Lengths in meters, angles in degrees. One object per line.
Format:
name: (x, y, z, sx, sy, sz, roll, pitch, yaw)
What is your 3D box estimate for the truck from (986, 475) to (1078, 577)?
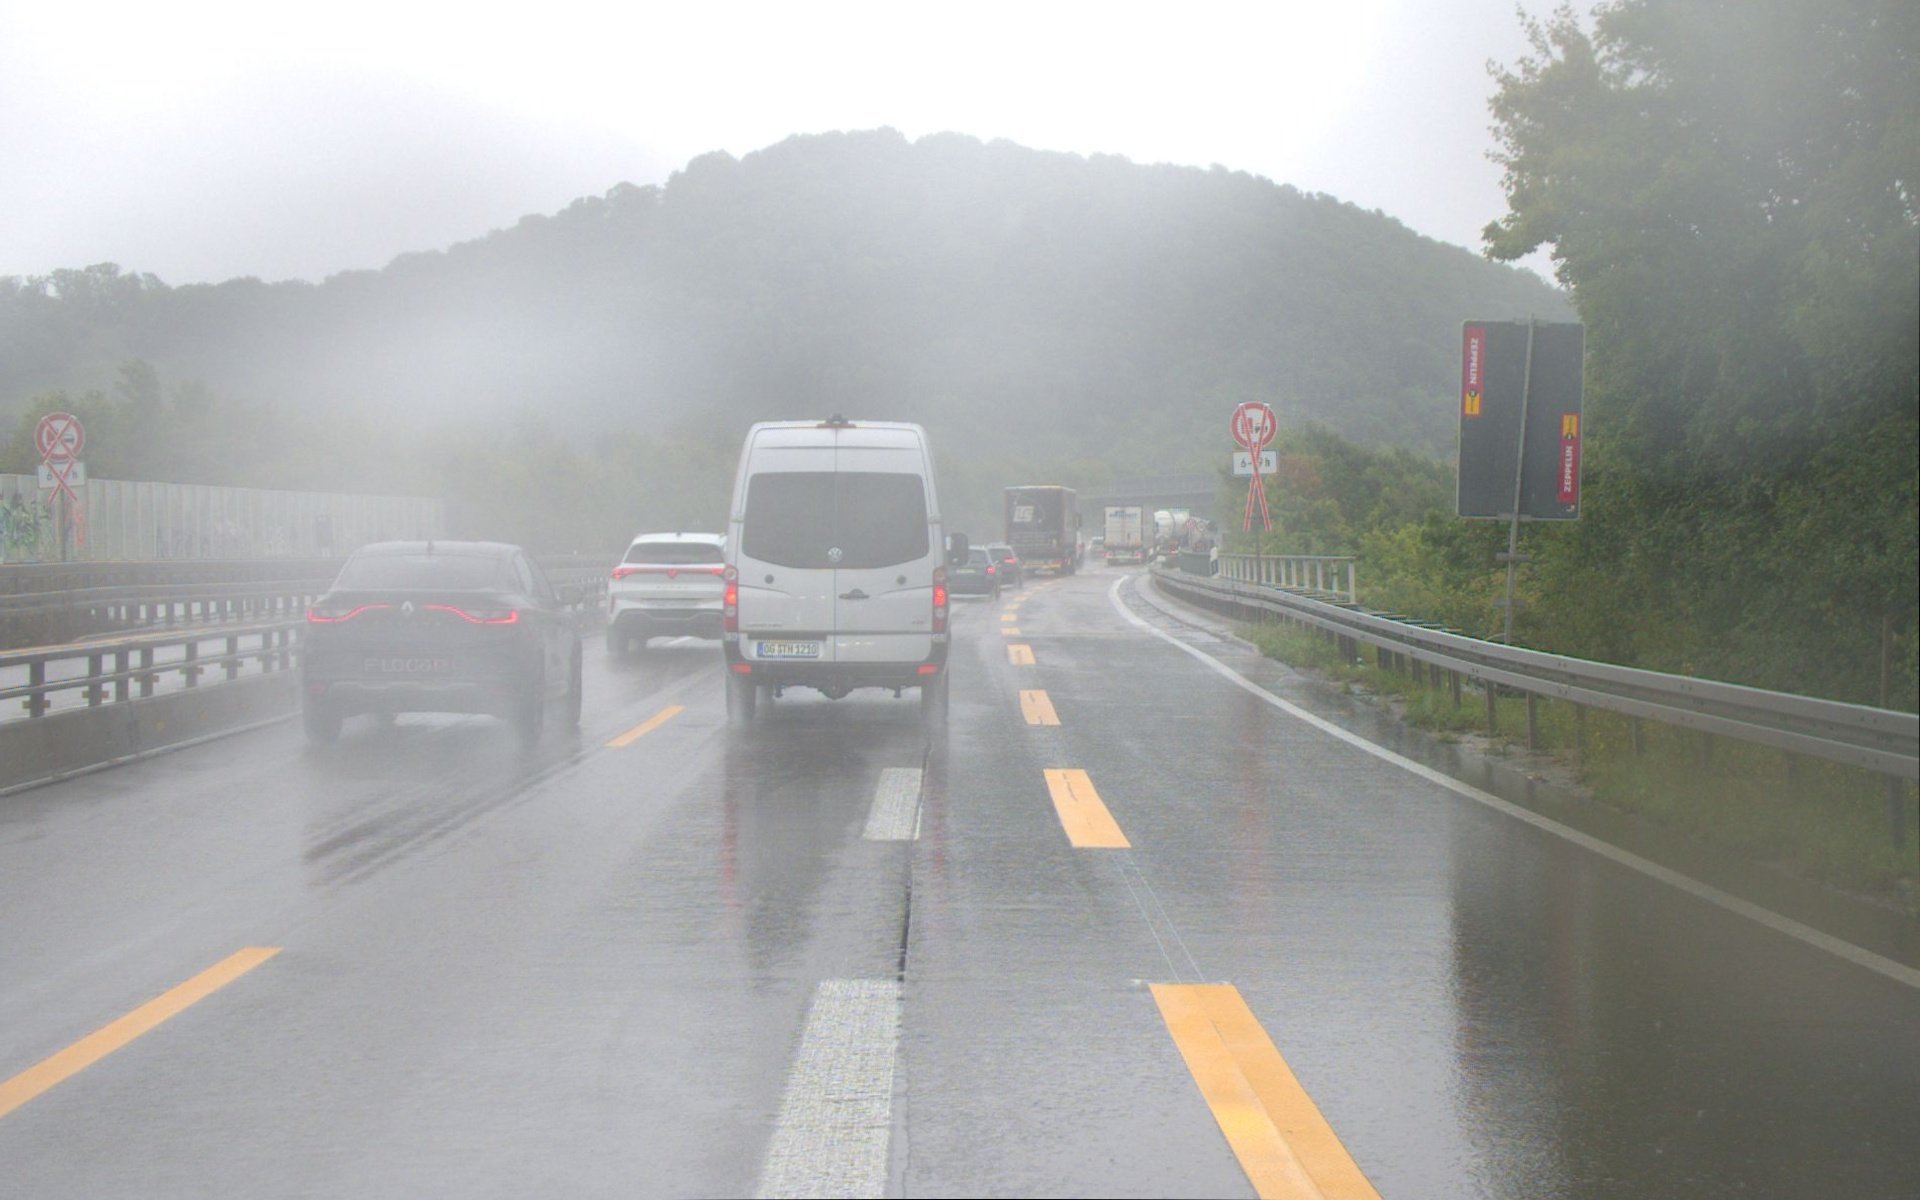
truck: (3.299, -3.290, 154.633, 3.582, 4.391, 9.622, 1, 1, 4)

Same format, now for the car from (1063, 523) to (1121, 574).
car: (7.780, -2.996, 201.887, 2.899, 2.877, 6.410, 1, 1, 6)

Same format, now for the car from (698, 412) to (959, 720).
car: (-1.109, -0.316, 31.613, 2.145, 2.562, 5.390, 1, 1, 0)

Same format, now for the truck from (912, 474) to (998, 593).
truck: (-0.087, -1.792, 94.914, 1.994, 3.098, 8.498, 1, 1, 2)

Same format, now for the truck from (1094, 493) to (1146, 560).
truck: (10.828, -4.929, 232.419, 3.036, 4.391, 9.622, 1, 1, 5)

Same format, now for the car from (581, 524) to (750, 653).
car: (-3.903, -0.175, 46.254, 1.993, 1.612, 4.797, 1, 1, -2)

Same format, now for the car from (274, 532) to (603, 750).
car: (-4.072, 0.278, 27.522, 1.993, 1.579, 4.414, 1, 1, -1)
